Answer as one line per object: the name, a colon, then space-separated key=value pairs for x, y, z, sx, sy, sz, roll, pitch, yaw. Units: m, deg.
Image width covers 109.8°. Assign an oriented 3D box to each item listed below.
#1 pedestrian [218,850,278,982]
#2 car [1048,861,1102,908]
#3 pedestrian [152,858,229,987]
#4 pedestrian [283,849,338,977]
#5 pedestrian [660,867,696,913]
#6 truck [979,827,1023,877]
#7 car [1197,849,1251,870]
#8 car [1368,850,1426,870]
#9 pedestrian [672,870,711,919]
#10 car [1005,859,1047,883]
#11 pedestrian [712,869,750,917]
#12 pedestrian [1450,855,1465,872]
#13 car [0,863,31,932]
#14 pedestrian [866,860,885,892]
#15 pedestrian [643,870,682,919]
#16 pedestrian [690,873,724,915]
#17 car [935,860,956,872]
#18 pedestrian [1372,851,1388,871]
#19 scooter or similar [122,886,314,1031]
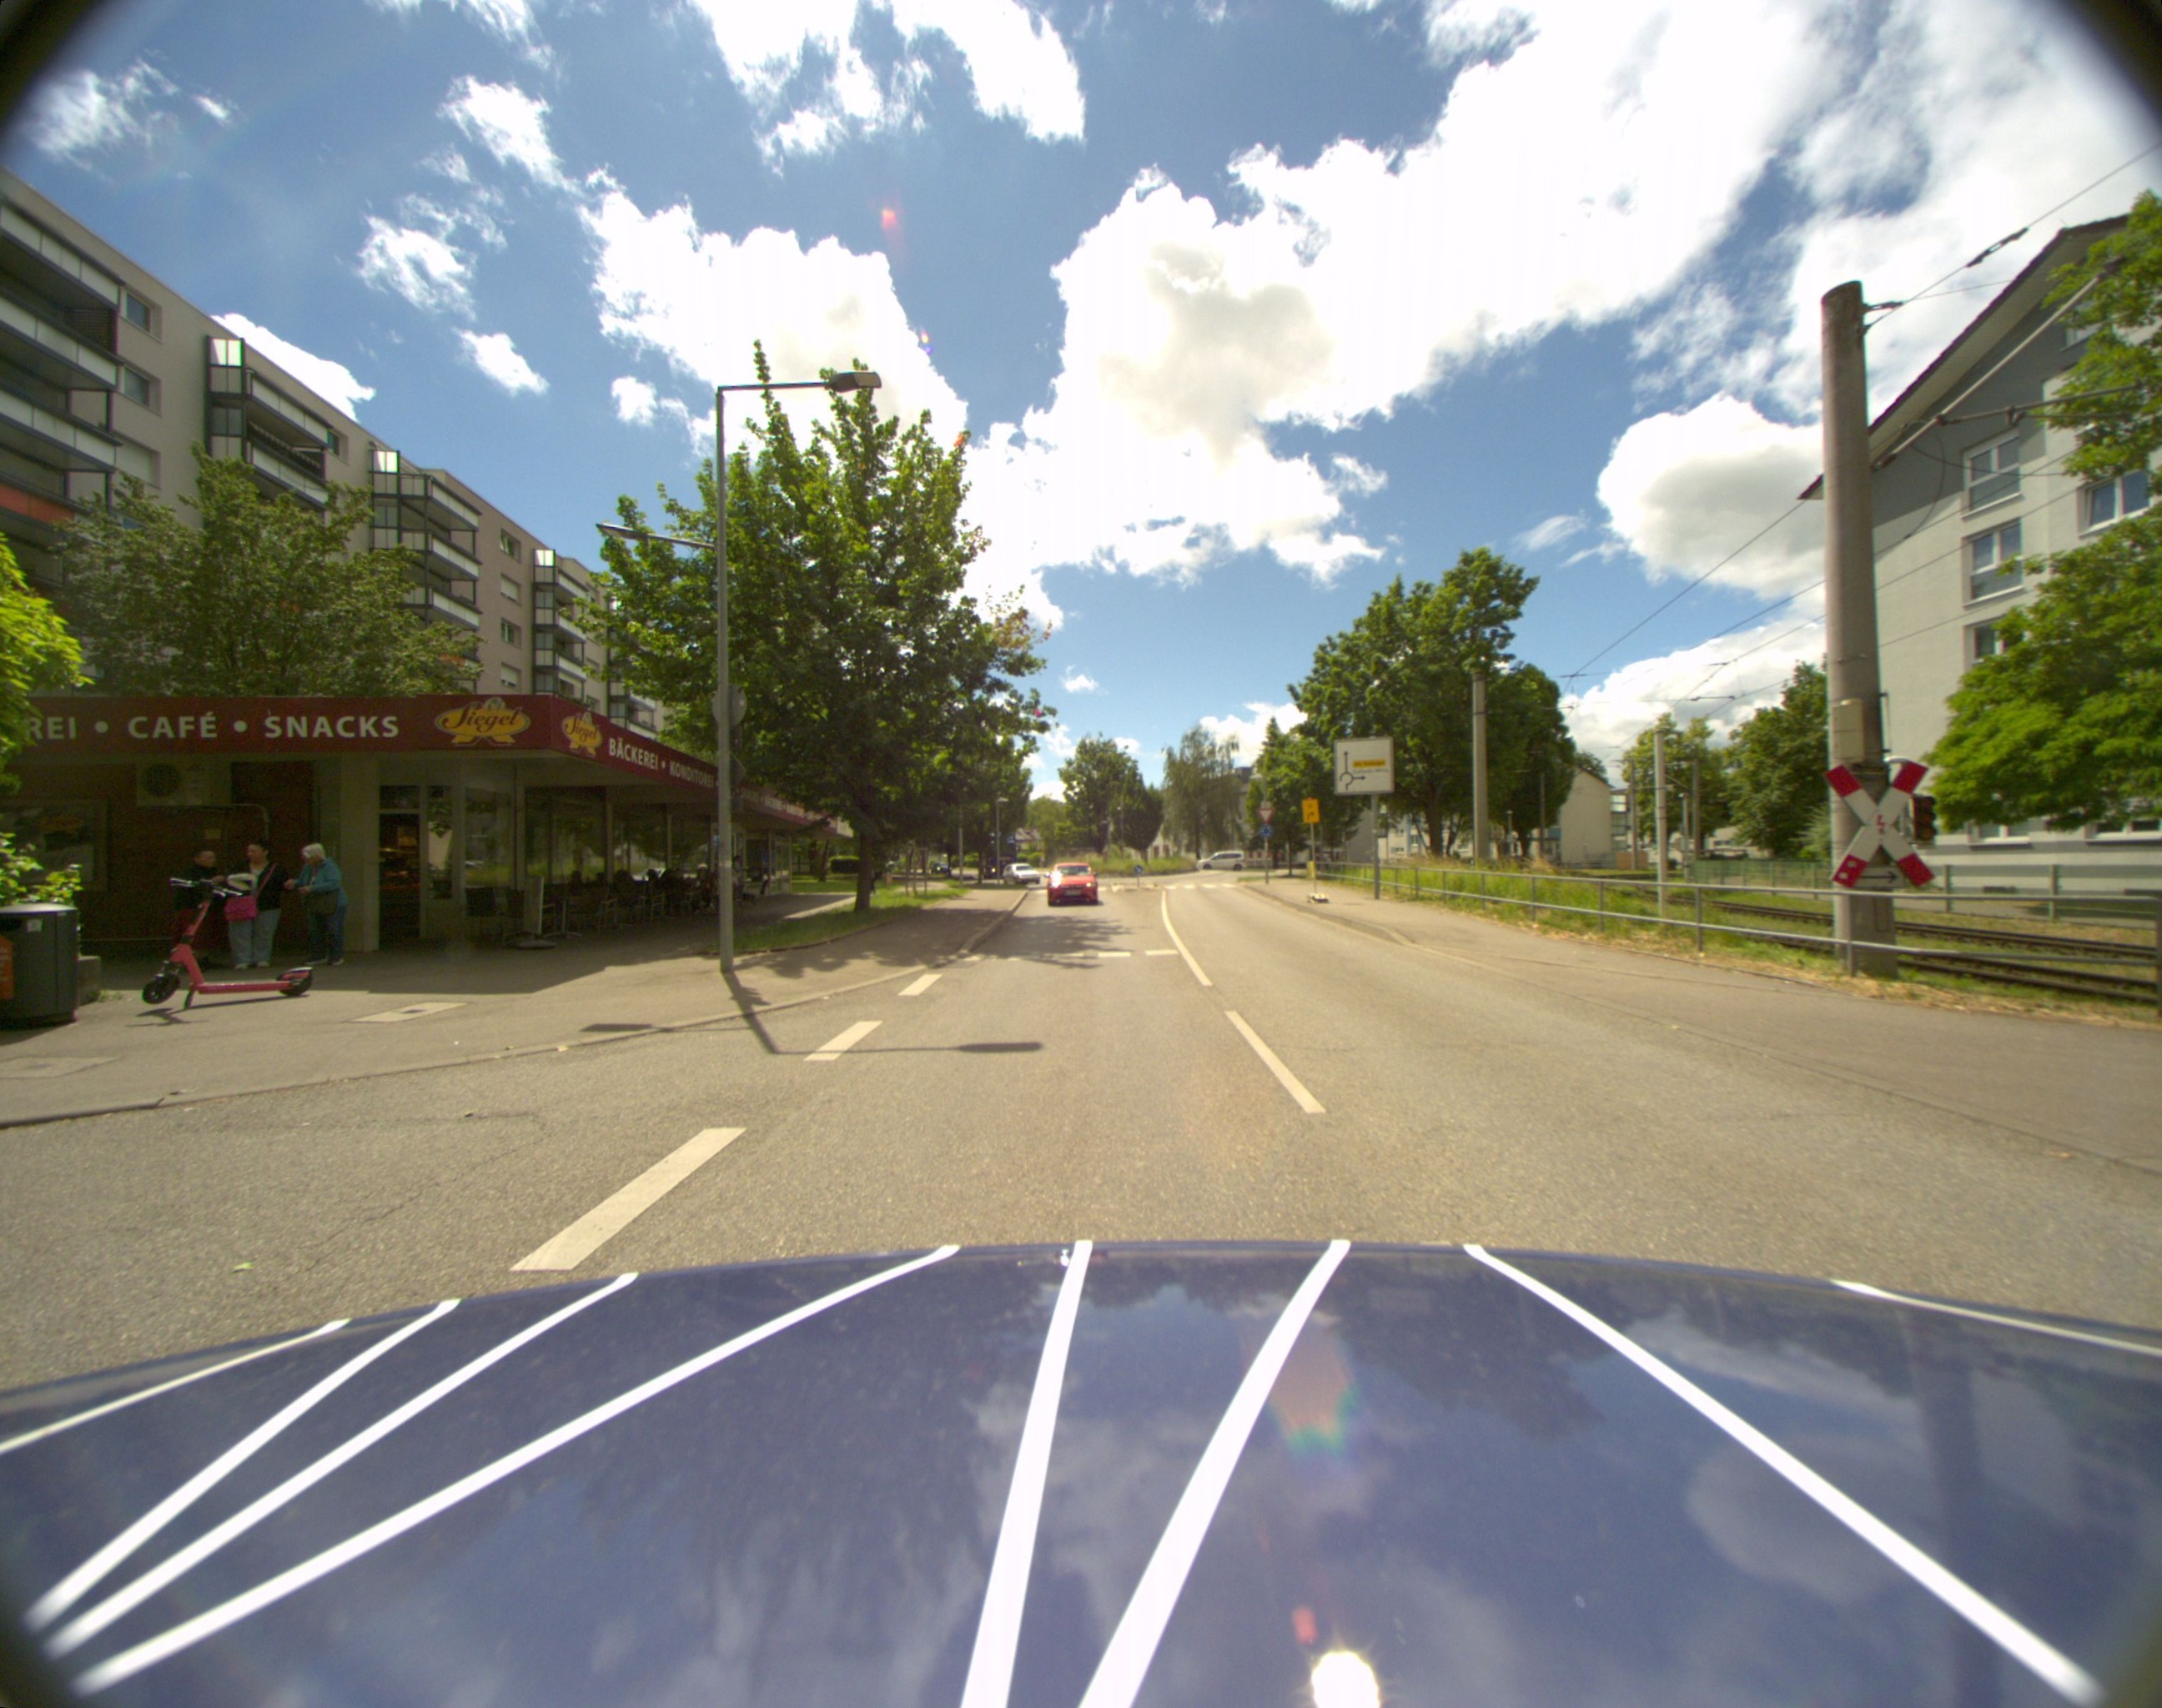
pedestrian: x=-10.557 y=0.766 z=9.637 sx=0.444 sy=1.622 sz=0.399 roll=-1 pitch=1 yaw=-40
car: x=-0.176 y=1.018 z=26.727 sx=1.712 sy=1.439 sz=3.670 roll=-2 pitch=0 yaw=0
pedestrian: x=-11.038 y=0.823 z=9.423 sx=0.510 sy=1.542 sz=0.534 roll=0 pitch=1 yaw=32
pedestrian: x=-10.068 y=0.748 z=9.941 sx=0.444 sy=1.622 sz=0.399 roll=-1 pitch=1 yaw=-40
pedestrian: x=-11.391 y=1.013 z=21.502 sx=0.674 sy=1.259 sz=0.677 roll=2 pitch=1 yaw=-8
truck: x=-7.163 y=-0.165 z=66.842 sx=2.632 sy=4.069 sz=9.597 roll=0 pitch=0 yaw=-14
car: x=12.987 y=0.496 z=69.286 sx=4.614 sy=1.786 sz=2.001 roll=0 pitch=0 yaw=4
car: x=29.723 y=0.539 z=71.513 sx=4.619 sy=1.786 sz=1.998 roll=0 pitch=0 yaw=-9
pedestrian: x=-10.341 y=1.070 z=20.210 sx=0.674 sy=1.259 sz=0.825 roll=2 pitch=0 yaw=-8
car: x=-3.809 y=1.142 z=52.228 sx=1.764 sy=1.514 sz=3.817 roll=0 pitch=0 yaw=-23
pedestrian: x=-9.653 y=1.060 z=20.969 sx=0.677 sy=1.259 sz=0.674 roll=2 pitch=1 yaw=5
pedestrian: x=37.665 y=0.949 z=76.001 sx=1.022 sy=1.655 sz=0.875 roll=0 pitch=0 yaw=-5
car: x=-21.539 y=0.841 z=13.238 sx=1.749 sy=1.334 sz=3.488 roll=-1 pitch=0 yaw=-6
pedestrian: x=-9.851 y=1.054 z=36.497 sx=0.726 sy=1.529 sz=0.654 roll=0 pitch=0 yaw=-3
pedestrian: x=-11.114 y=1.061 z=20.190 sx=0.677 sy=1.259 sz=0.674 roll=2 pitch=1 yaw=-6
pedestrian: x=-10.623 y=1.118 z=21.615 sx=0.674 sy=1.145 sz=0.677 roll=2 pitch=1 yaw=-8
car: x=-15.738 y=1.364 z=88.368 sx=1.811 sy=1.346 sz=3.993 roll=0 pitch=0 yaw=-19
pedestrian: x=24.721 y=0.594 z=62.883 sx=0.875 sy=1.655 sz=1.021 roll=0 pitch=0 yaw=-6
scooter or similar: x=-8.699 y=0.998 z=7.704 sx=0.376 sy=1.300 sz=1.234 roll=0 pitch=0 yaw=33
